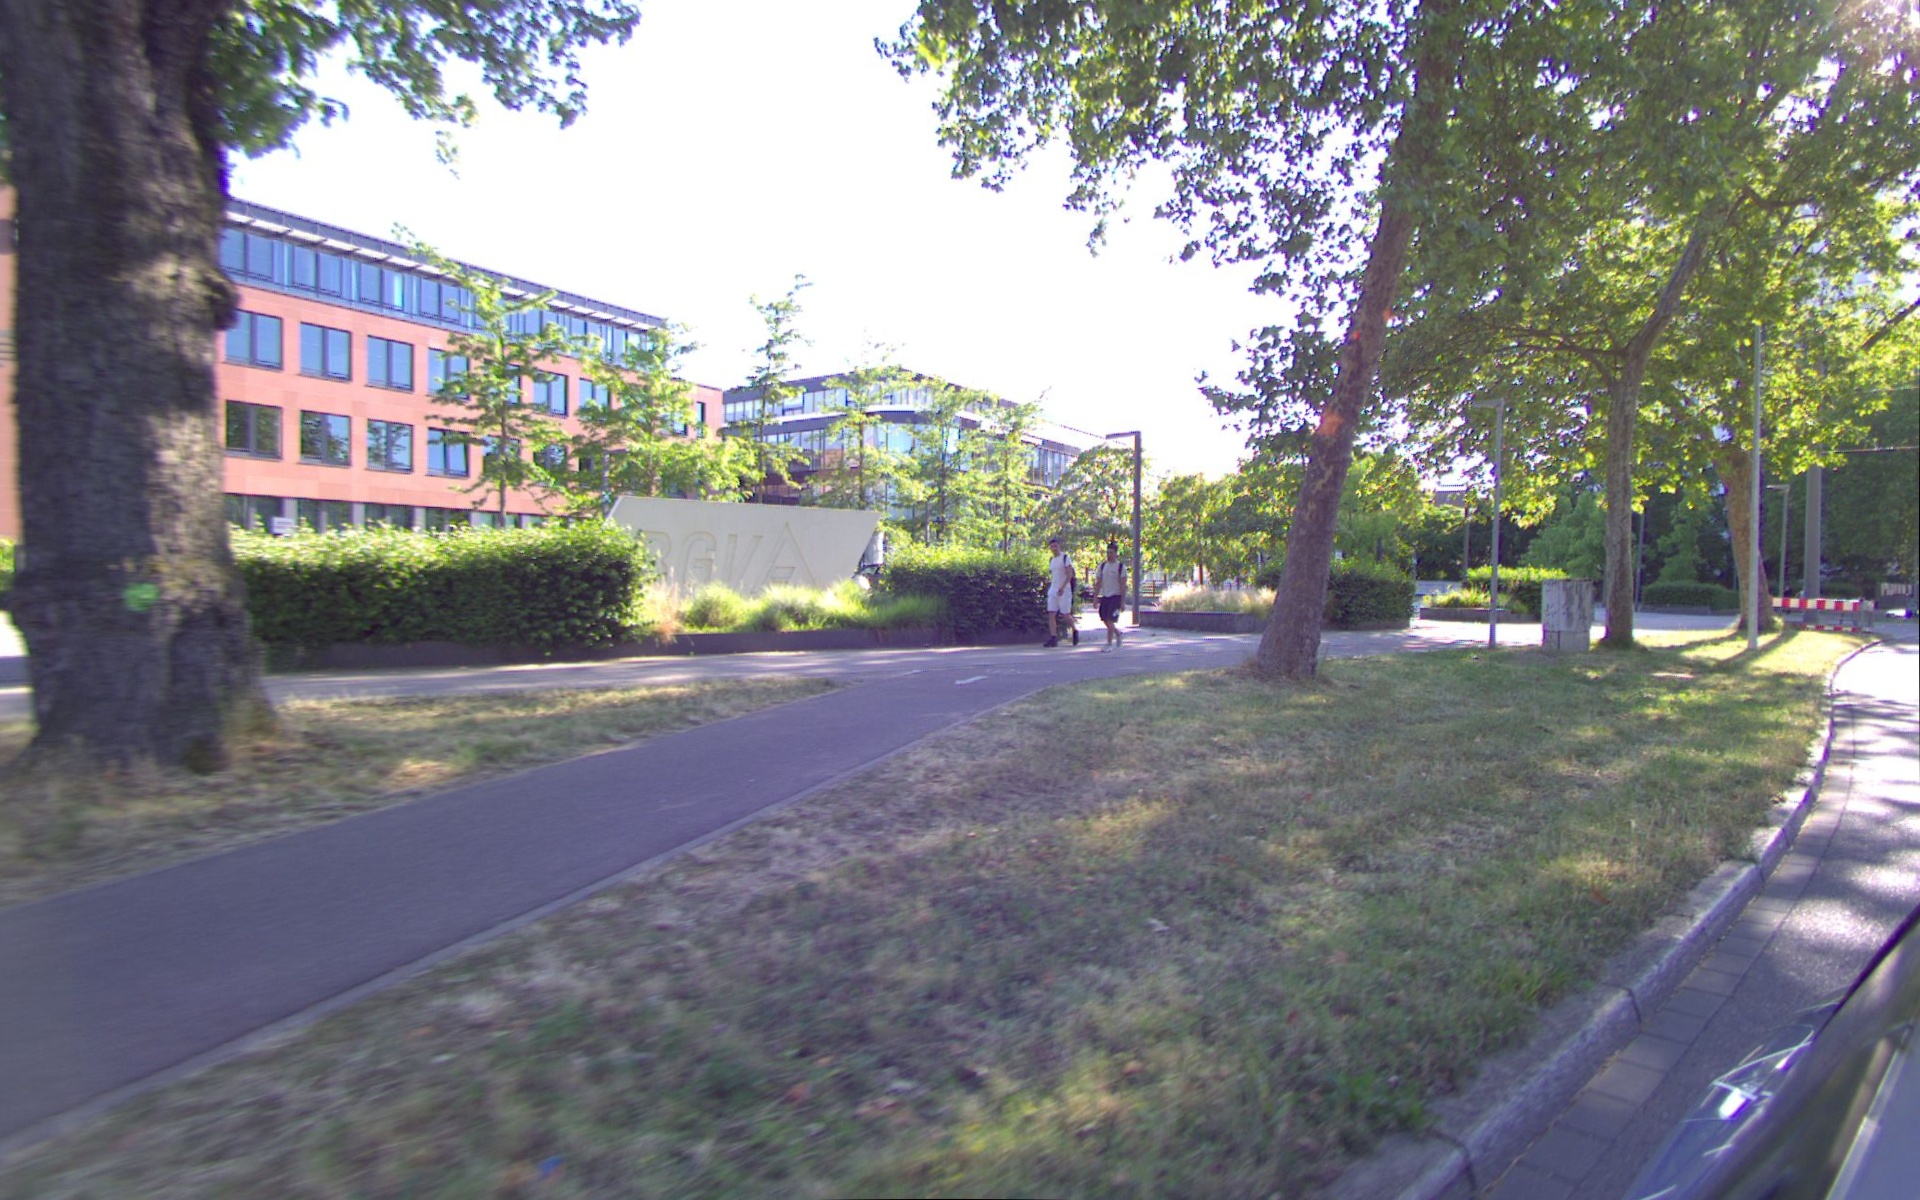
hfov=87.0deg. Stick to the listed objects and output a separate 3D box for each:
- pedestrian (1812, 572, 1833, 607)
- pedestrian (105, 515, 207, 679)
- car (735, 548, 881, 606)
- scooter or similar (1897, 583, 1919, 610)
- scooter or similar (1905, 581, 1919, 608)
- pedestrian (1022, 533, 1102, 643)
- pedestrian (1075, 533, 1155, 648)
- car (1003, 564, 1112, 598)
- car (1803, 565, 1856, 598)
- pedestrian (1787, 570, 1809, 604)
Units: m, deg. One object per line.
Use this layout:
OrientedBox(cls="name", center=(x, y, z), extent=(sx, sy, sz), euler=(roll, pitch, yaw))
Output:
OrientedBox(cls="pedestrian", center=(41.807, -0.523, 49.042), extent=(0.726, 1.677, 0.629), euler=(0, 2, -39))
OrientedBox(cls="pedestrian", center=(-8.039, -0.045, 10.135), extent=(0.769, 1.558, 0.651), euler=(0, 2, -39))
OrientedBox(cls="car", center=(-5.035, -0.772, 33.328), extent=(4.649, 1.735, 1.828), euler=(3, 1, 31))
OrientedBox(cls="scooter or similar", center=(44.680, -0.164, 47.340), extent=(0.825, 1.259, 1.055), euler=(0, 2, -36))
OrientedBox(cls="scooter or similar", center=(45.448, -0.239, 47.780), extent=(0.825, 1.259, 1.055), euler=(0, 2, -36))
OrientedBox(cls="pedestrian", center=(1.744, -0.222, 17.357), extent=(1.090, 1.815, 0.807), euler=(0, 2, -39))
OrientedBox(cls="pedestrian", center=(2.537, -0.172, 16.558), extent=(1.066, 1.815, 0.752), euler=(0, 2, -39))
OrientedBox(cls="car", center=(4.527, -0.893, 47.096), extent=(4.651, 1.503, 2.048), euler=(1, 1, 33))
OrientedBox(cls="car", center=(71.200, -1.517, 82.833), extent=(6.229, 2.531, 1.999), euler=(-1, -1, -37))
OrientedBox(cls="pedestrian", center=(41.267, -0.638, 49.828), extent=(0.769, 1.677, 0.651), euler=(0, 2, -39))
